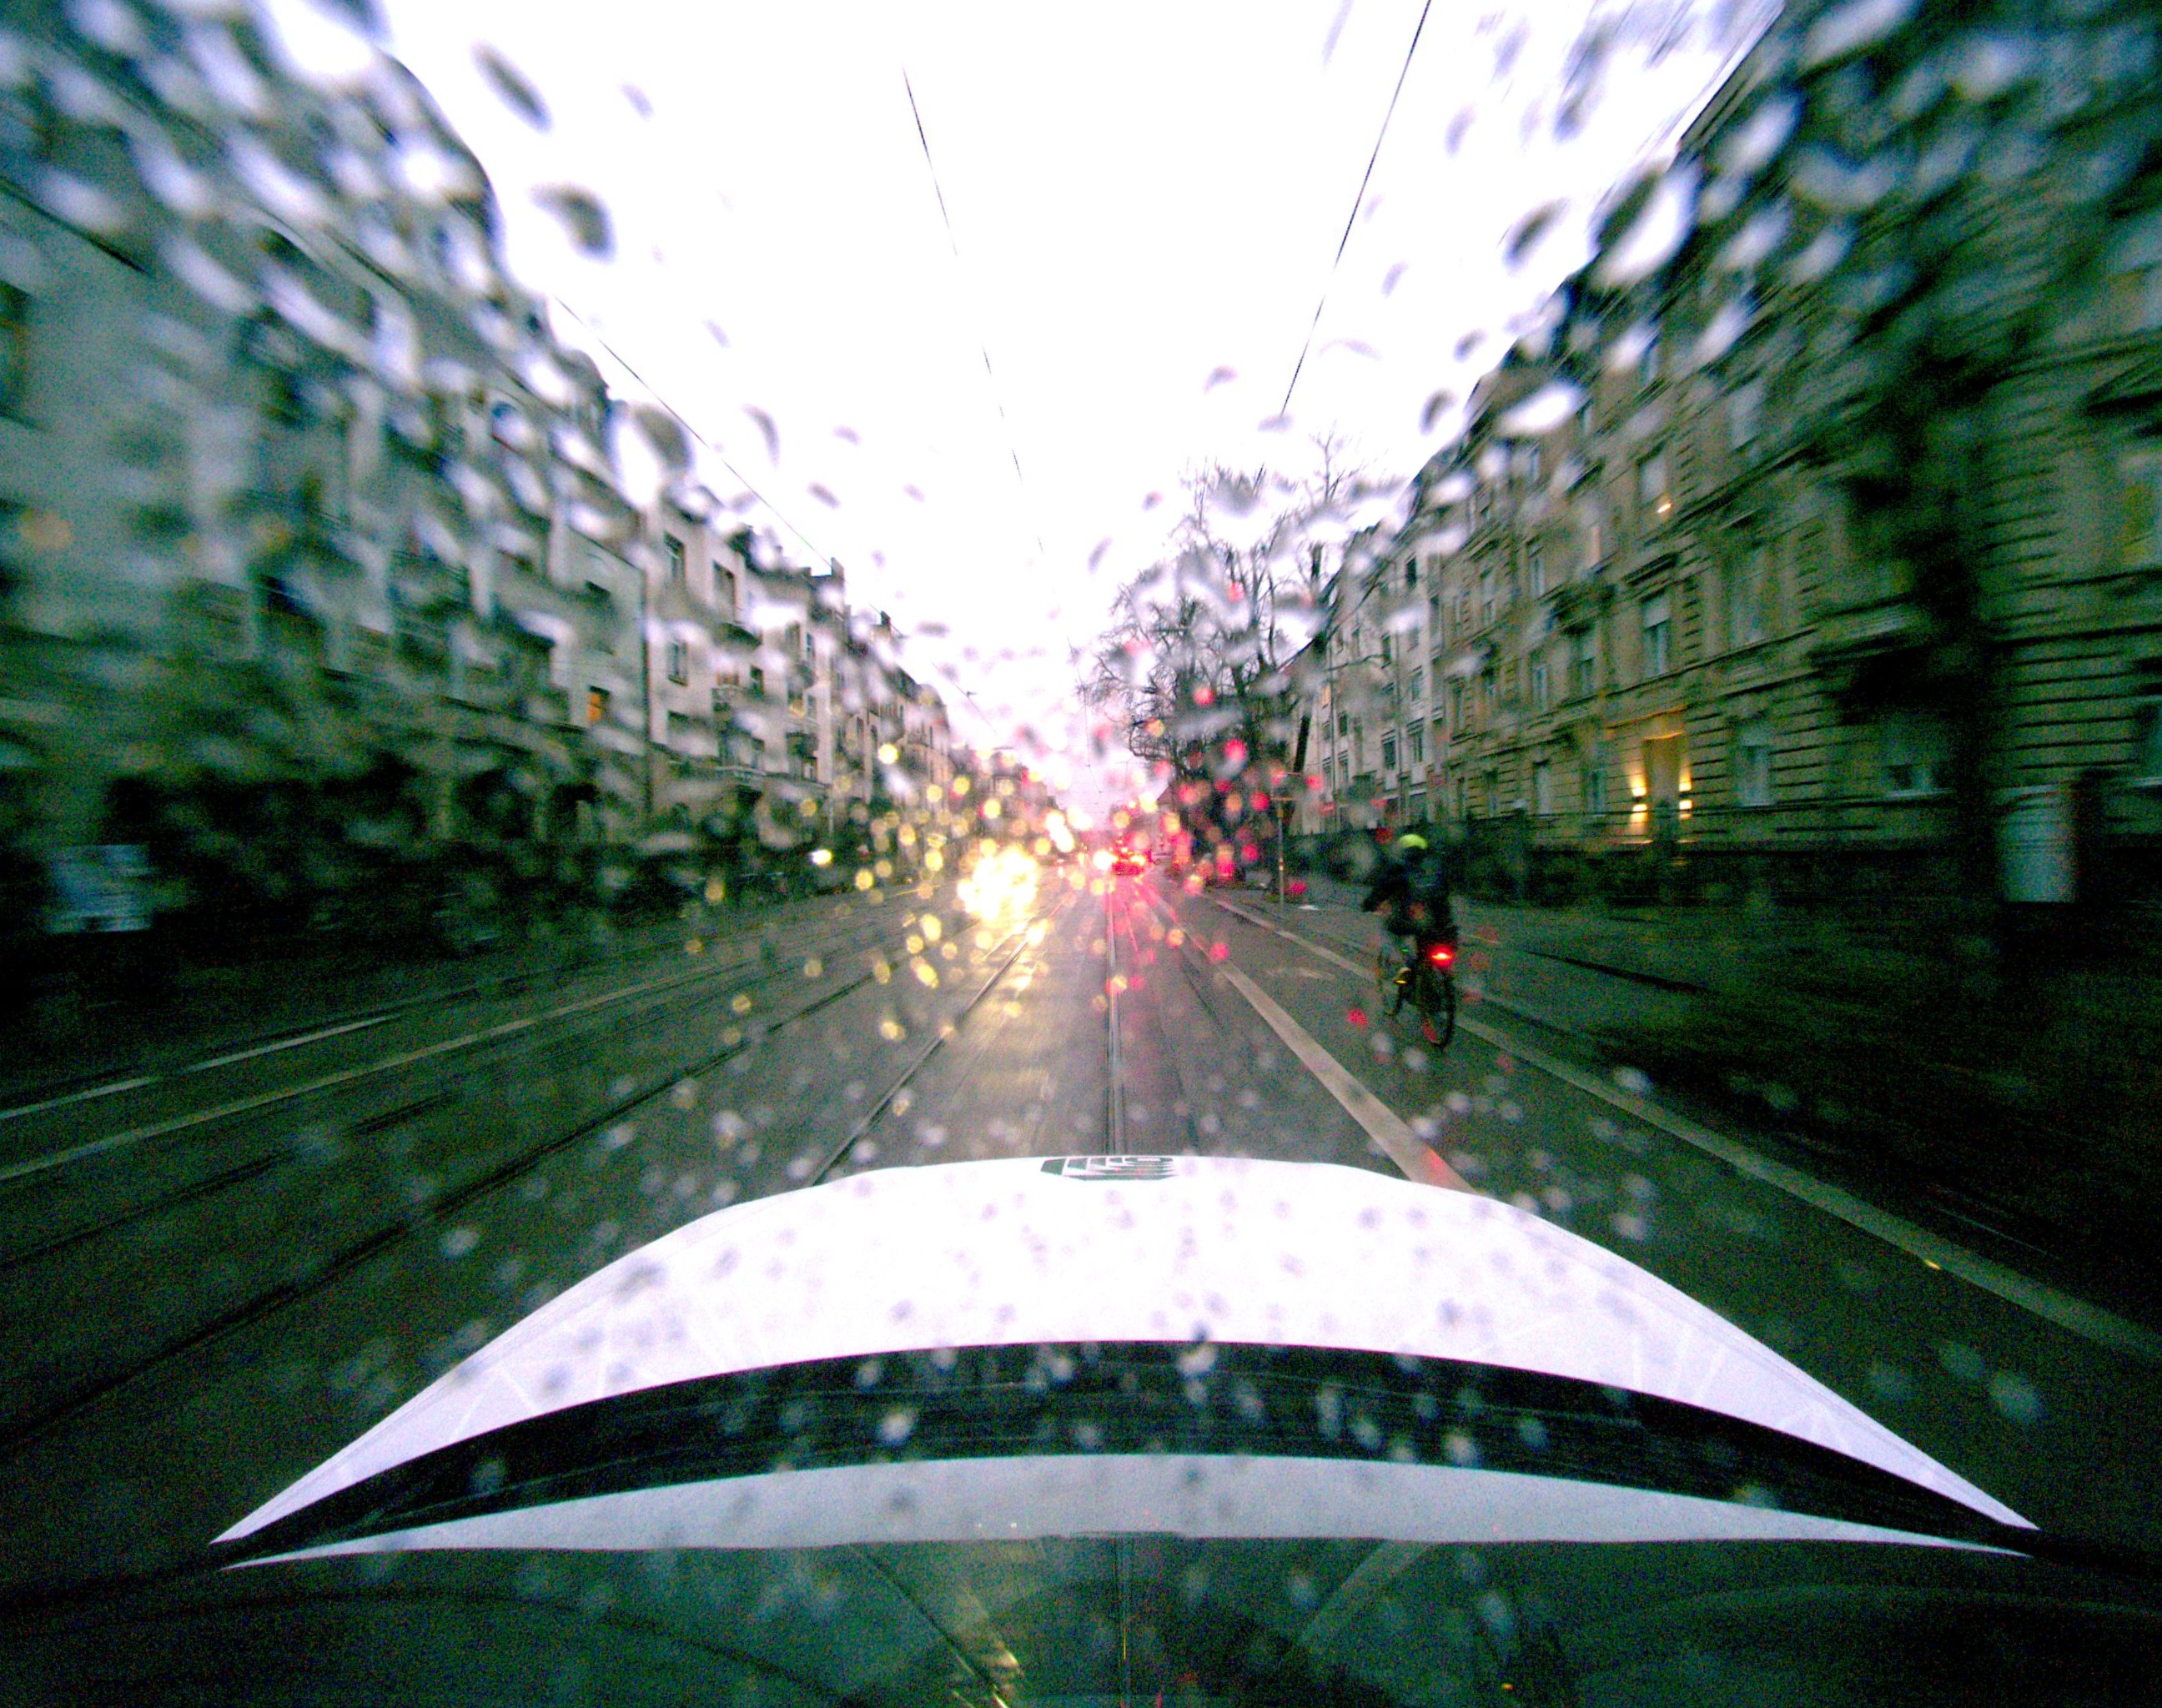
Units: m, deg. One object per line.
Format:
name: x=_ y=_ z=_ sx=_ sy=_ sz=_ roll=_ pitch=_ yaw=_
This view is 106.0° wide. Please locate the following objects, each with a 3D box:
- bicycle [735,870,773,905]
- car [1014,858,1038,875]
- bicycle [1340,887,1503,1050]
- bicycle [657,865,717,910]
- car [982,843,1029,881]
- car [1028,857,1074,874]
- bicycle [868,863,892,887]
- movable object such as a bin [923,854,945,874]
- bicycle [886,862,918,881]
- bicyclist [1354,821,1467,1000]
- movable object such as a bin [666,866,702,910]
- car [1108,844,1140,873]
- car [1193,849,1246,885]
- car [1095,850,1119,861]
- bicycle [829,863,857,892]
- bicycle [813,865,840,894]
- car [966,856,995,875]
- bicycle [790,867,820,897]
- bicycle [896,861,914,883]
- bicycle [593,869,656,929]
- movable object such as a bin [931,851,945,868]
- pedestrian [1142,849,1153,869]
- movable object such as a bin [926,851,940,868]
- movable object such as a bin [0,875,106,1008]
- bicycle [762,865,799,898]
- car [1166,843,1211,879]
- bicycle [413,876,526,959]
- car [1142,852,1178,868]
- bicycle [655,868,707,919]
bicycle: x=-10.035 y=1.049 z=25.038 sx=0.691 sy=1.031 sz=1.590 roll=-2 pitch=-3 yaw=-7
car: x=-4.599 y=1.031 z=68.753 sx=1.655 sy=1.198 sz=3.875 roll=-2 pitch=1 yaw=0
bicycle: x=2.891 y=0.907 z=7.151 sx=0.704 sy=1.096 sz=2.032 roll=-2 pitch=1 yaw=5
bicycle: x=-11.770 y=0.999 z=24.353 sx=1.582 sy=1.264 sz=0.490 roll=-3 pitch=-5 yaw=5
car: x=-4.080 y=0.389 z=44.818 sx=2.039 sy=1.922 sz=5.100 roll=-2 pitch=1 yaw=0
car: x=-3.387 y=1.297 z=92.990 sx=4.920 sy=1.717 sz=1.701 roll=-2 pitch=1 yaw=6
bicycle: x=-9.504 y=0.981 z=38.538 sx=0.623 sy=1.017 sz=1.806 roll=-3 pitch=0 yaw=0
movable object such as a bin: x=-11.800 y=0.764 z=65.366 sx=1.404 sy=1.530 sz=1.365 roll=-2 pitch=1 yaw=1
bicycle: x=-10.960 y=1.090 z=49.900 sx=1.802 sy=1.080 sz=0.615 roll=-2 pitch=1 yaw=-5
bicyclist: x=2.841 y=0.459 z=7.099 sx=0.653 sy=1.446 sz=0.850 roll=-2 pitch=1 yaw=5
movable object such as a bin: x=-10.875 y=0.932 z=22.313 sx=0.694 sy=1.137 sz=0.740 roll=-2 pitch=1 yaw=-13
car: x=2.874 y=0.343 z=55.295 sx=1.986 sy=1.897 sz=4.759 roll=0 pitch=-1 yaw=1
car: x=6.060 y=0.519 z=36.067 sx=1.671 sy=1.460 sz=4.043 roll=-2 pitch=0 yaw=1
car: x=4.582 y=0.220 z=142.384 sx=3.983 sy=1.716 sz=1.899 roll=-2 pitch=1 yaw=-7
bicycle: x=-9.771 y=0.961 z=33.484 sx=0.484 sy=1.099 sz=1.931 roll=-3 pitch=0 yaw=1
bicycle: x=-9.813 y=0.970 z=31.467 sx=0.691 sy=1.031 sz=1.592 roll=-2 pitch=-1 yaw=-7
car: x=-8.737 y=0.953 z=71.014 sx=1.826 sy=1.447 sz=4.002 roll=-2 pitch=1 yaw=2
bicycle: x=-9.944 y=1.019 z=29.435 sx=0.691 sy=1.031 sz=1.592 roll=-2 pitch=-1 yaw=-7
bicycle: x=-9.431 y=0.945 z=43.626 sx=0.613 sy=1.080 sz=1.809 roll=-2 pitch=1 yaw=-3
bicycle: x=-10.143 y=0.976 z=18.153 sx=0.629 sy=1.212 sz=1.592 roll=-2 pitch=1 yaw=-7
movable object such as a bin: x=-13.819 y=0.506 z=78.854 sx=1.009 sy=1.600 sz=1.082 roll=-2 pitch=1 yaw=4
pedestrian: x=6.953 y=0.541 z=84.747 sx=1.019 sy=2.013 sz=0.919 roll=-2 pitch=1 yaw=-2
movable object such as a bin: x=-13.885 y=0.511 z=76.414 sx=1.009 sy=1.600 sz=1.082 roll=-2 pitch=1 yaw=4
movable object such as a bin: x=-12.672 y=1.011 z=9.384 sx=1.256 sy=1.450 sz=1.329 roll=-2 pitch=1 yaw=9
bicycle: x=-9.978 y=0.937 z=27.063 sx=0.690 sy=1.031 sz=1.594 roll=-2 pitch=-3 yaw=-3
car: x=6.244 y=0.358 z=47.681 sx=1.986 sy=1.900 sz=5.028 roll=-2 pitch=1 yaw=1
bicycle: x=-10.221 y=1.024 z=13.688 sx=0.690 sy=1.212 sz=1.595 roll=-2 pitch=1 yaw=-3
car: x=9.075 y=0.674 z=93.560 sx=3.970 sy=1.727 sz=1.741 roll=-2 pitch=1 yaw=3
bicycle: x=-10.257 y=0.989 z=20.941 sx=0.691 sy=1.212 sz=1.592 roll=-2 pitch=1 yaw=-7
